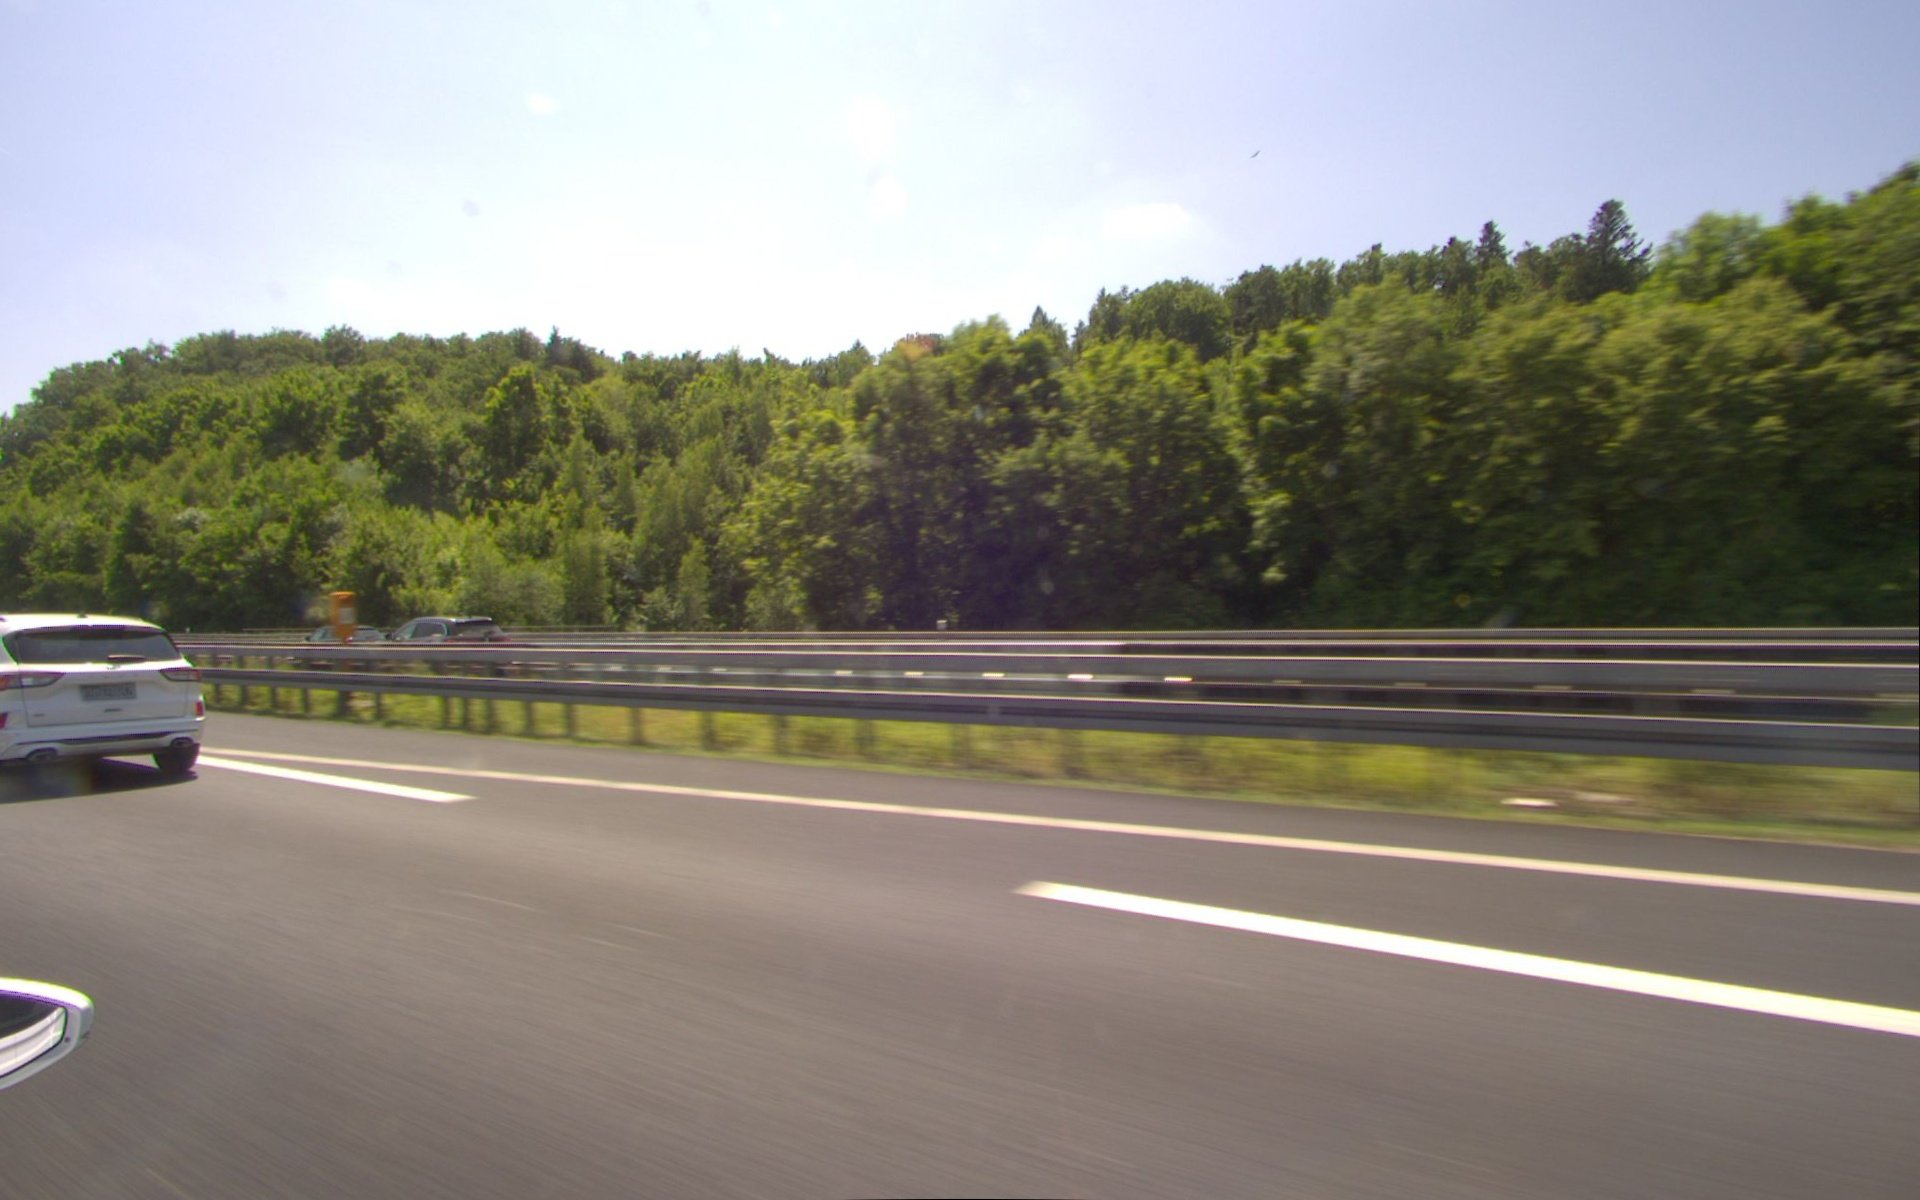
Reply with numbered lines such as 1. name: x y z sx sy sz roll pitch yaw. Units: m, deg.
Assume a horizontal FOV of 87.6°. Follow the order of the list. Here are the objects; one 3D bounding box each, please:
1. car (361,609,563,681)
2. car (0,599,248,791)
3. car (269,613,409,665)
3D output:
1. car: -12.830 1.142 25.681 5.545 1.683 1.990 -2 -1 31
2. car: -9.773 0.909 10.726 4.405 1.683 1.990 -2 -1 32
3. car: -21.914 1.345 35.303 5.150 1.684 1.991 -1 0 30
